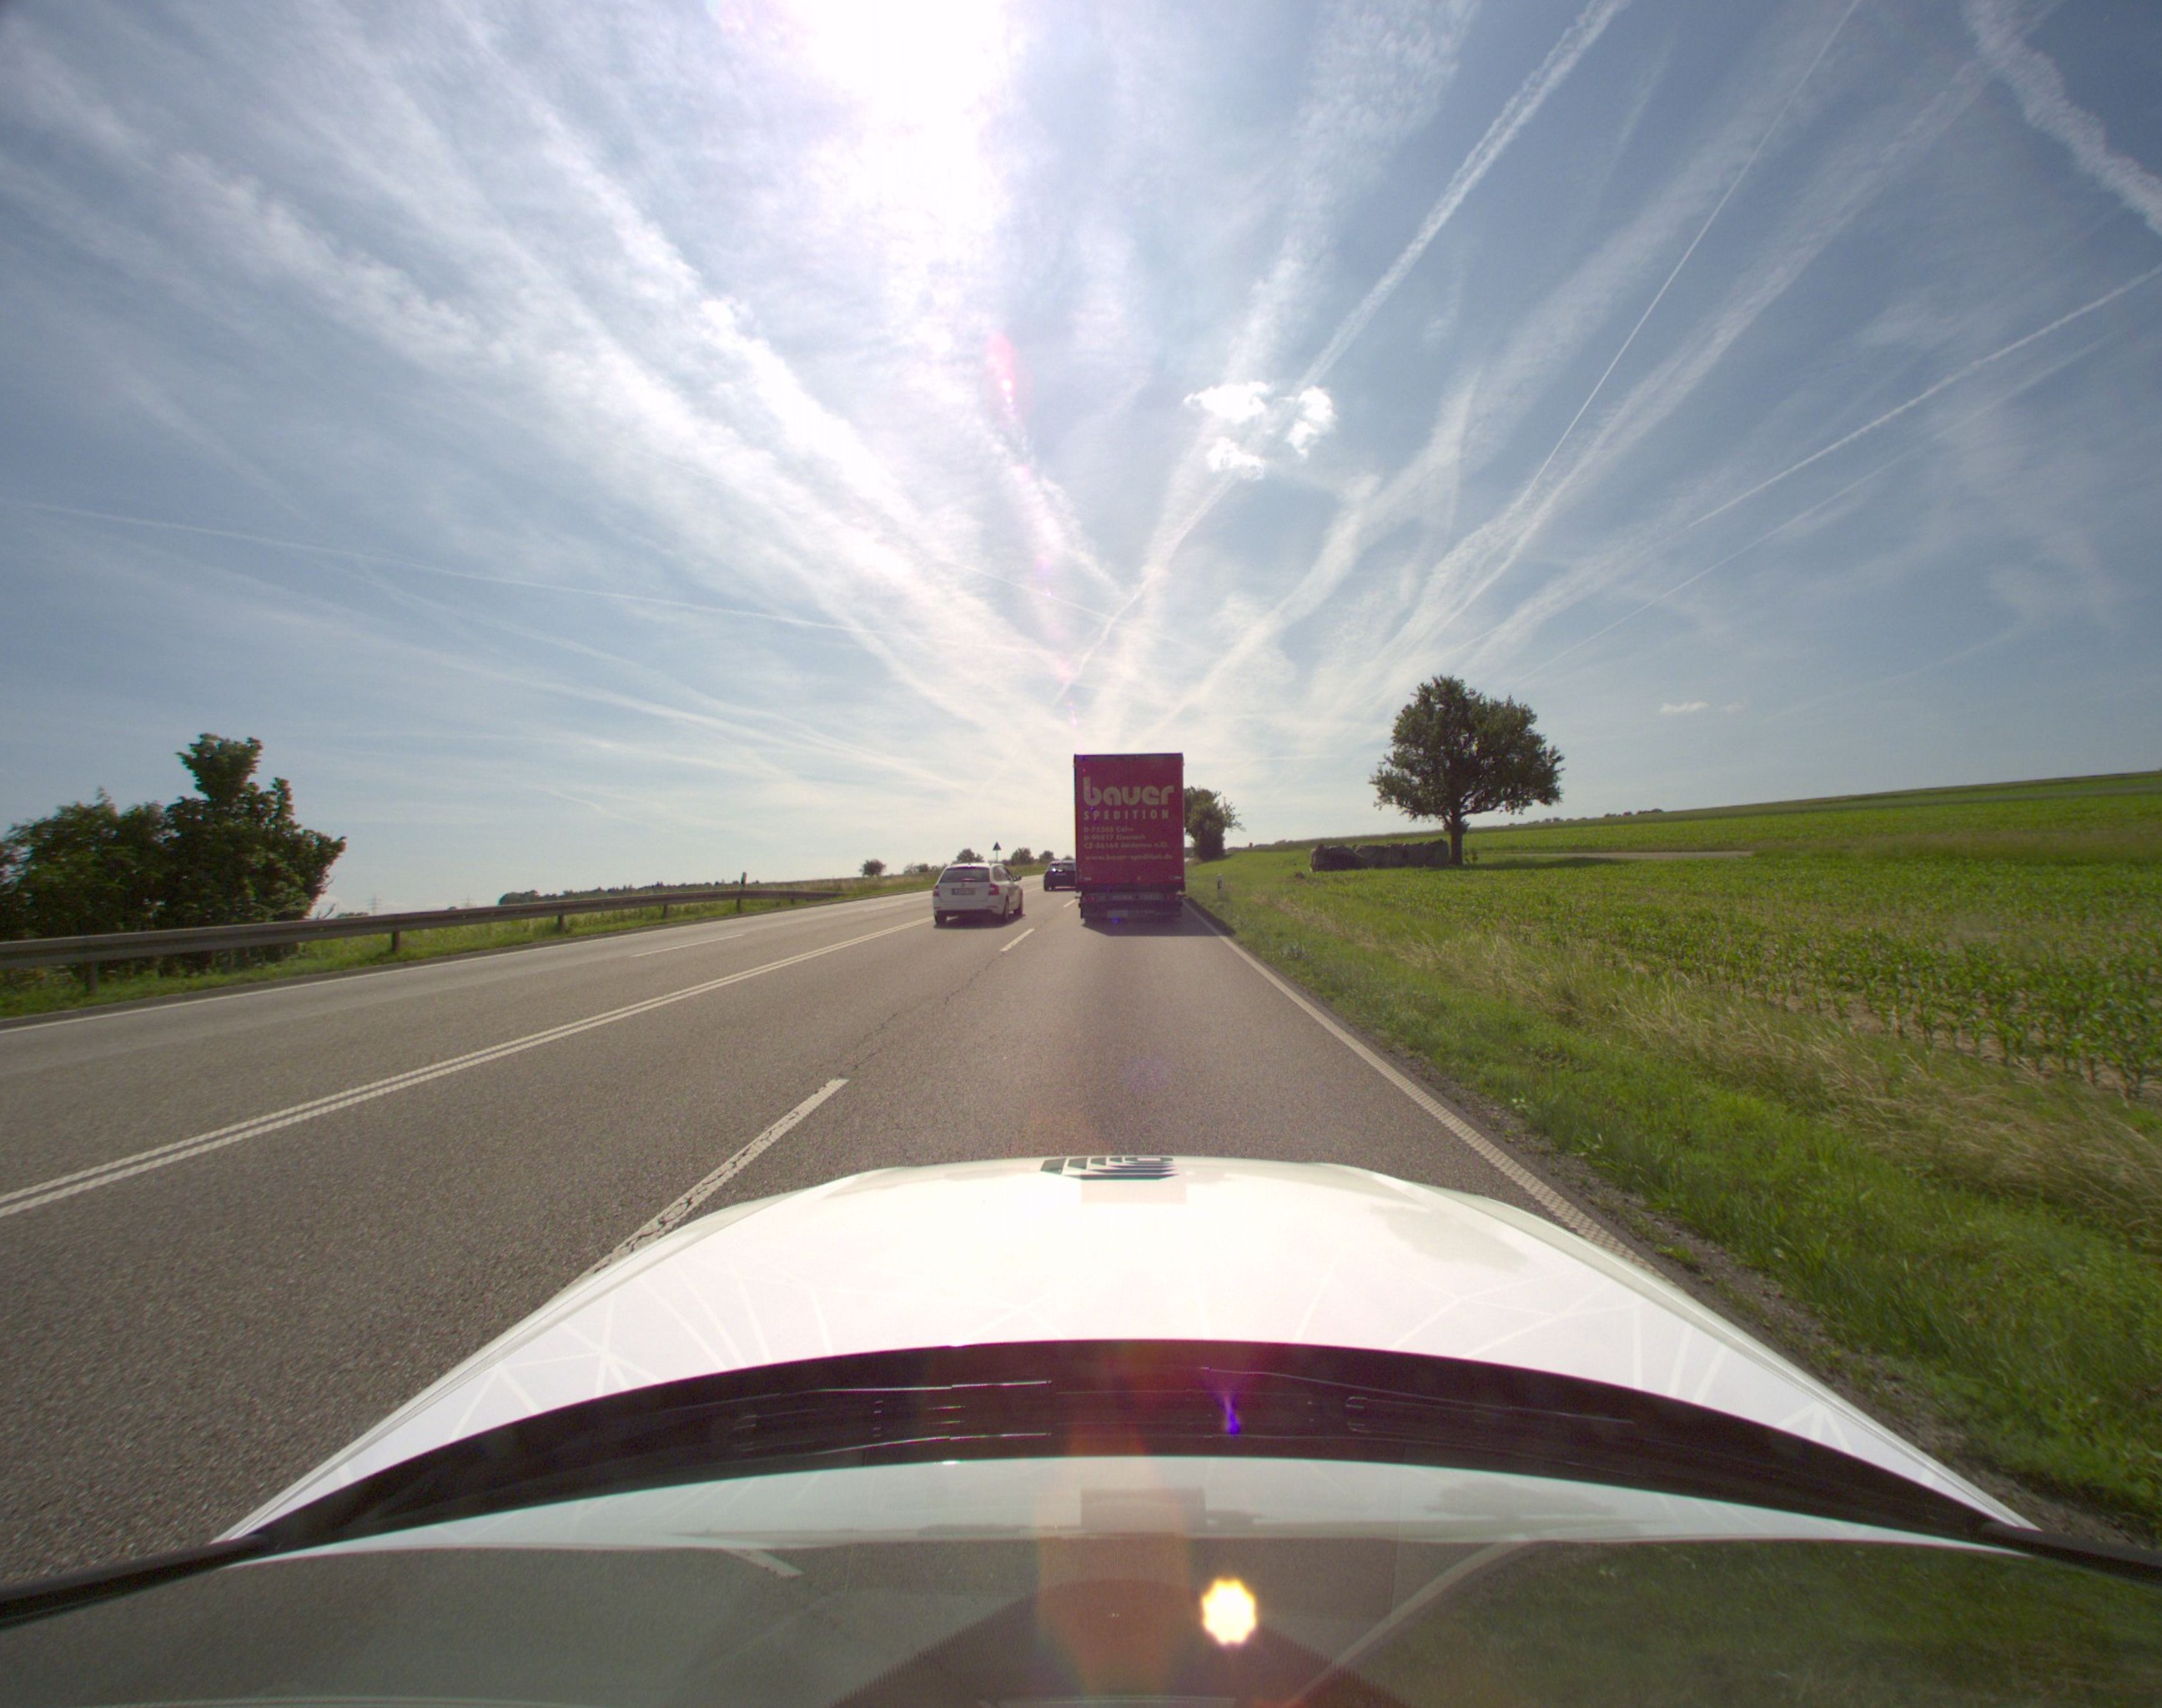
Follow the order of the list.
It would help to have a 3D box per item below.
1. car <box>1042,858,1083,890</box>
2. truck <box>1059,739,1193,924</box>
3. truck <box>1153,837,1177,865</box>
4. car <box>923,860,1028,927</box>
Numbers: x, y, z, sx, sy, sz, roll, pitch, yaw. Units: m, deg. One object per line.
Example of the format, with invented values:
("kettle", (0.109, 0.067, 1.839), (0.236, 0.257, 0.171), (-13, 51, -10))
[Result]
("car", (-0.875, 0.969, 40.528), (1.698, 1.472, 4.814), (-1, 0, 3))
("truck", (1.636, -0.439, 26.836), (2.993, 4.180, 16.732), (0, 0, 4))
("truck", (13.210, -0.382, 126.969), (3.030, 3.910, 18.436), (-2, 0, 7))
("car", (-2.572, 0.919, 20.964), (1.813, 1.472, 4.793), (-1, 0, 3))
